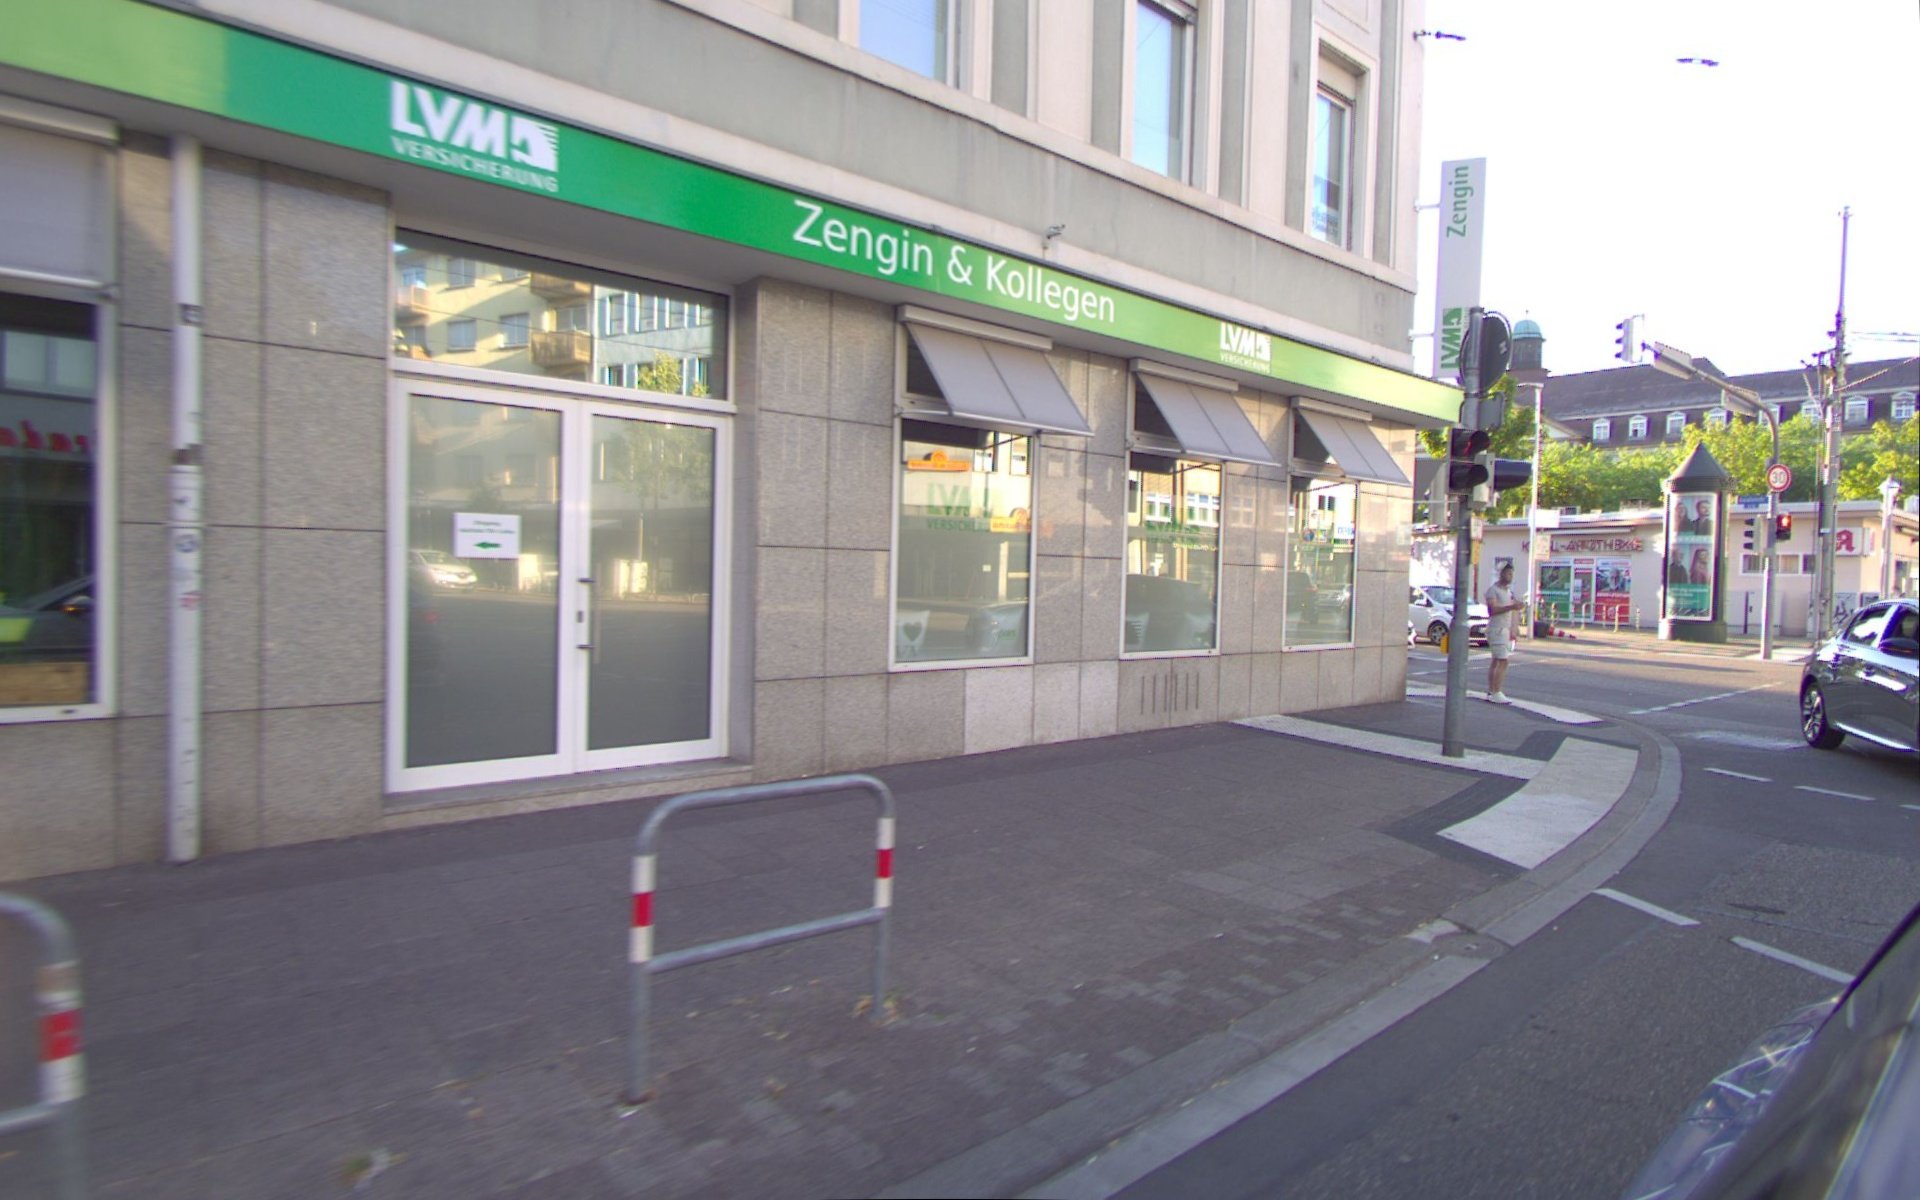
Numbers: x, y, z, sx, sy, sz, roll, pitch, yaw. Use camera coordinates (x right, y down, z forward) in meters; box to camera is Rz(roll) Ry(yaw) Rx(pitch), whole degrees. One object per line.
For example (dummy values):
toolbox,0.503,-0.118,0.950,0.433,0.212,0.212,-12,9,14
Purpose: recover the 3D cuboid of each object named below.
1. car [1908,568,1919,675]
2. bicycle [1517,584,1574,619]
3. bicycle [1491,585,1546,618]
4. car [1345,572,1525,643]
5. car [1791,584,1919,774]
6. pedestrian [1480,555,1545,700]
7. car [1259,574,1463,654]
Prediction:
car,17.627,0.423,15.633,4.244,1.718,1.801,3,2,43
bicycle,19.947,0.059,34.489,1.832,1.127,0.450,1,2,-14
bicycle,19.613,0.056,35.549,1.832,1.127,0.450,1,2,-14
car,11.630,0.133,25.099,1.683,1.489,3.995,1,3,-19
car,8.521,0.610,8.245,1.733,1.461,3.873,0,0,24
pedestrian,7.006,0.325,12.832,0.648,1.764,0.687,2,1,30
car,8.511,0.238,21.844,1.790,1.490,3.994,0,2,-22
